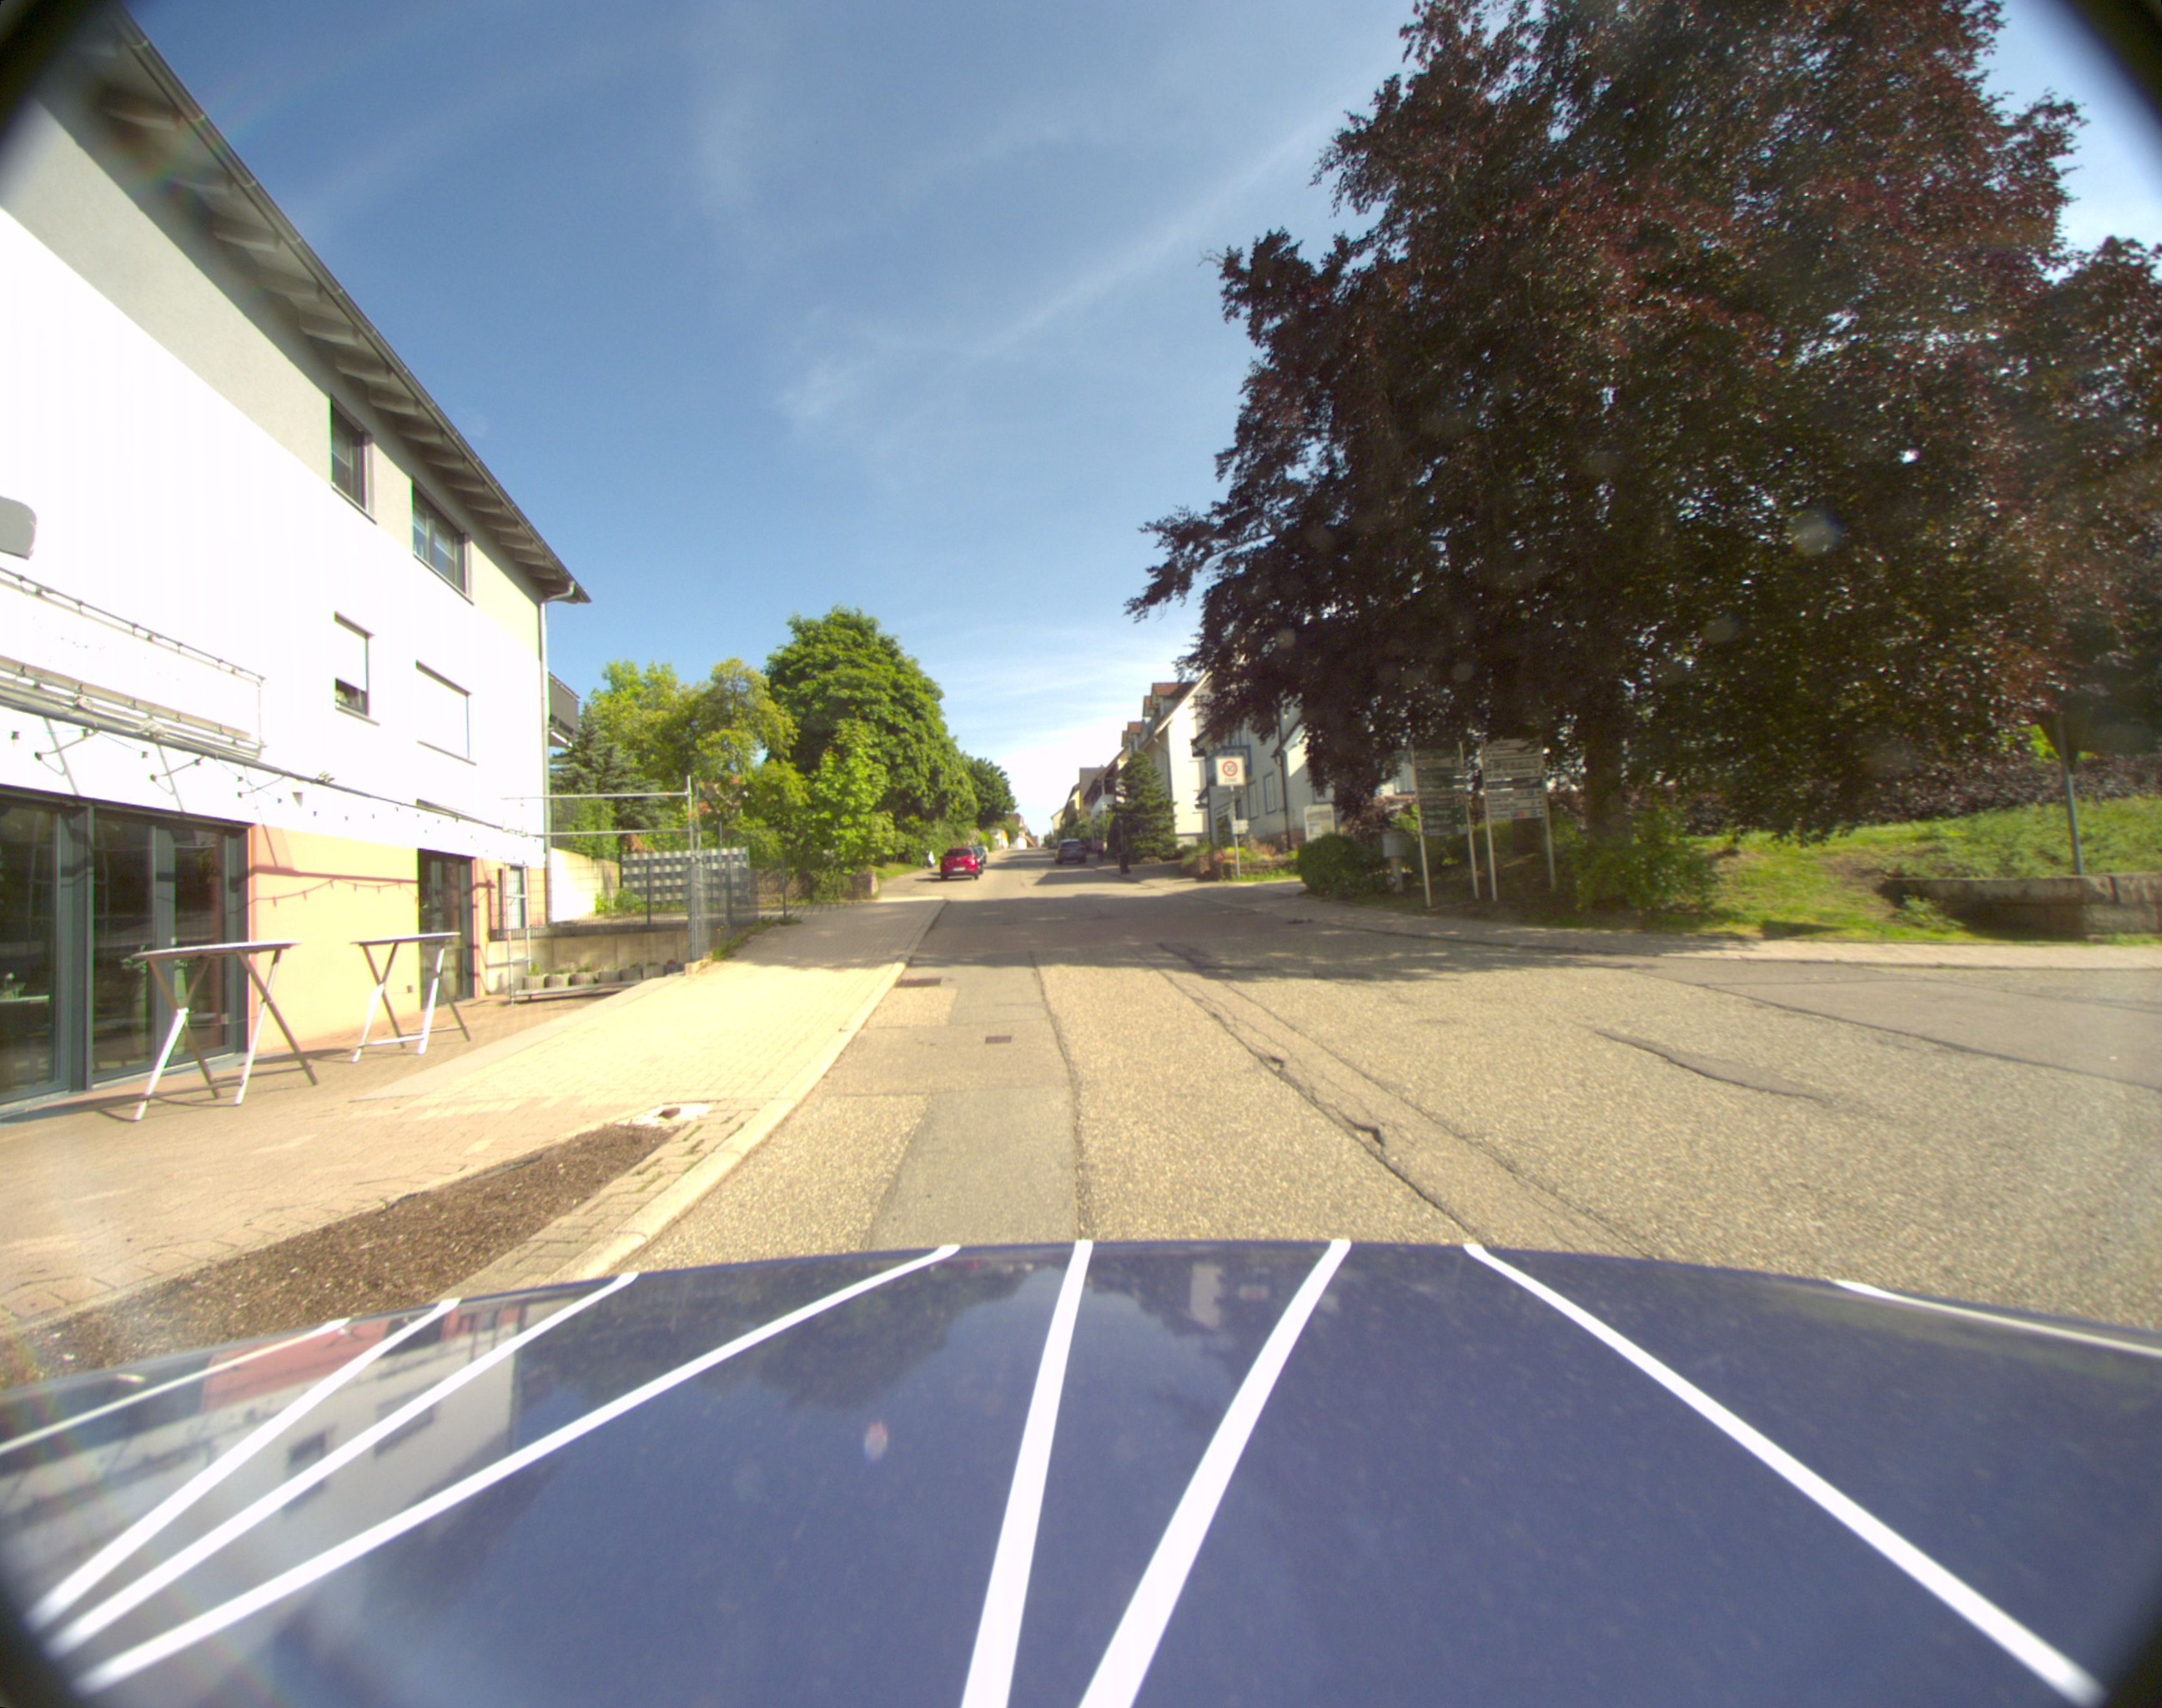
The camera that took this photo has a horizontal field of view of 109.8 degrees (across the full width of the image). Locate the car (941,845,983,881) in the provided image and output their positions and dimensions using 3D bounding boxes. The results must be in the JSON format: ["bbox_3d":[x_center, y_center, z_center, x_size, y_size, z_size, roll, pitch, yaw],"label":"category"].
[{"bbox_3d":[-5.448,0.384,35.225,1.624,1.489,3.808,-3,1,-5],"label":"car"}]

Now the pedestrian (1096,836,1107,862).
[{"bbox_3d":[1.281,-0.303,47.421,0.668,1.566,0.780,-2,2,1],"label":"pedestrian"}]

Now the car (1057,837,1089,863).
[{"bbox_3d":[-0.581,-0.301,51.985,1.808,1.592,3.808,-3,1,-5],"label":"car"}]

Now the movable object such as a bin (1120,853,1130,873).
[{"bbox_3d":[1.903,0.400,33.031,0.351,0.859,0.395,-2,1,-5],"label":"movable object such as a bin"}]

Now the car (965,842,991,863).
[{"bbox_3d":[-7.984,-0.149,59.203,1.776,1.462,3.808,-3,1,-5],"label":"car"}]

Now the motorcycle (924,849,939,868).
[{"bbox_3d":[-9.804,0.274,49.810,0.785,1.175,2.186,-2,1,-7],"label":"motorcycle"}]

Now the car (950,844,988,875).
[{"bbox_3d":[-5.972,0.257,40.800,1.776,1.462,3.808,-3,1,-5],"label":"car"}]
